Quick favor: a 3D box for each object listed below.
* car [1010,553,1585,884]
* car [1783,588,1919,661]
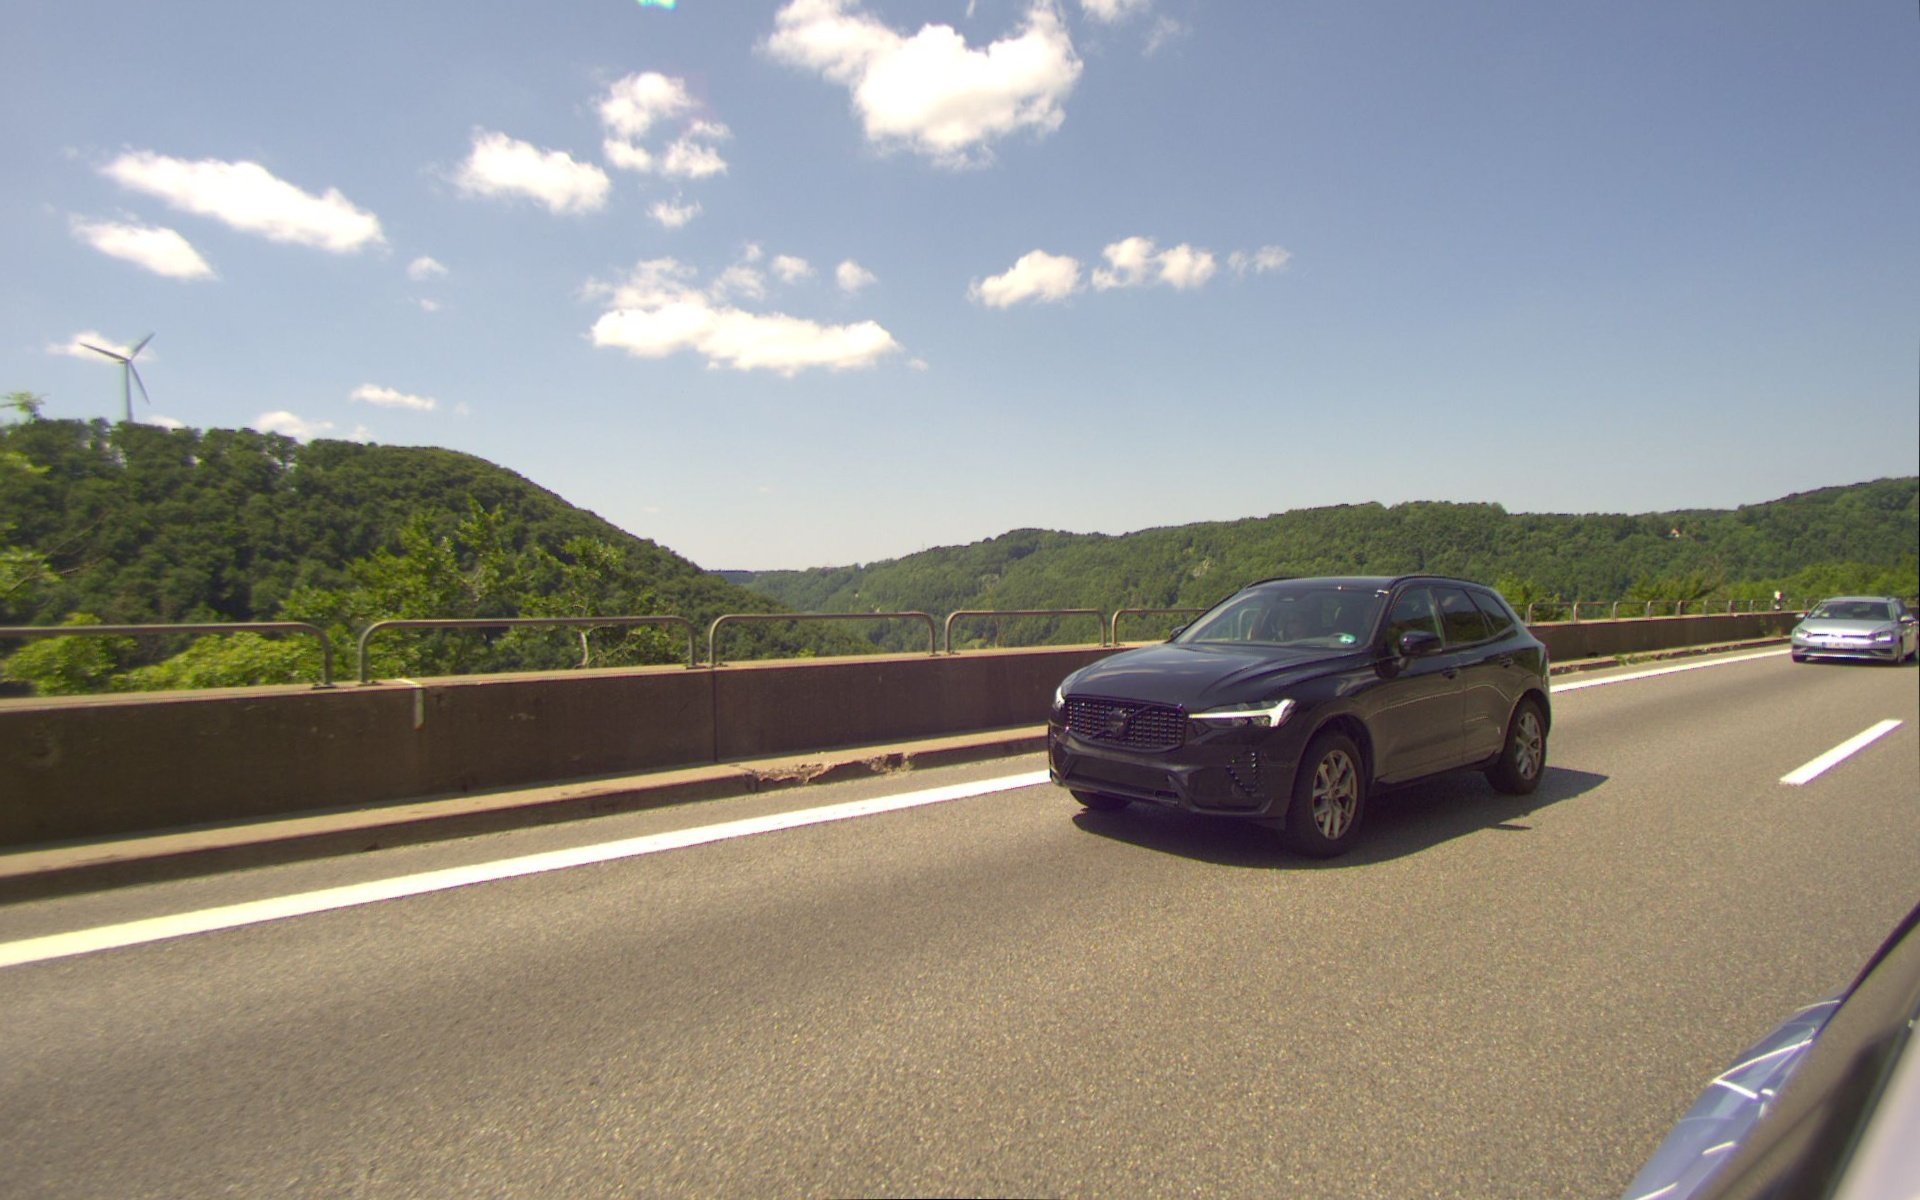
[{"bbox_3d":[2.646,0.567,7.260,4.581,1.654,1.838,-1,0,-41],"label":"car"},{"bbox_3d":[19.920,0.463,22.279,4.217,1.395,1.972,-1,1,-39],"label":"car"}]
